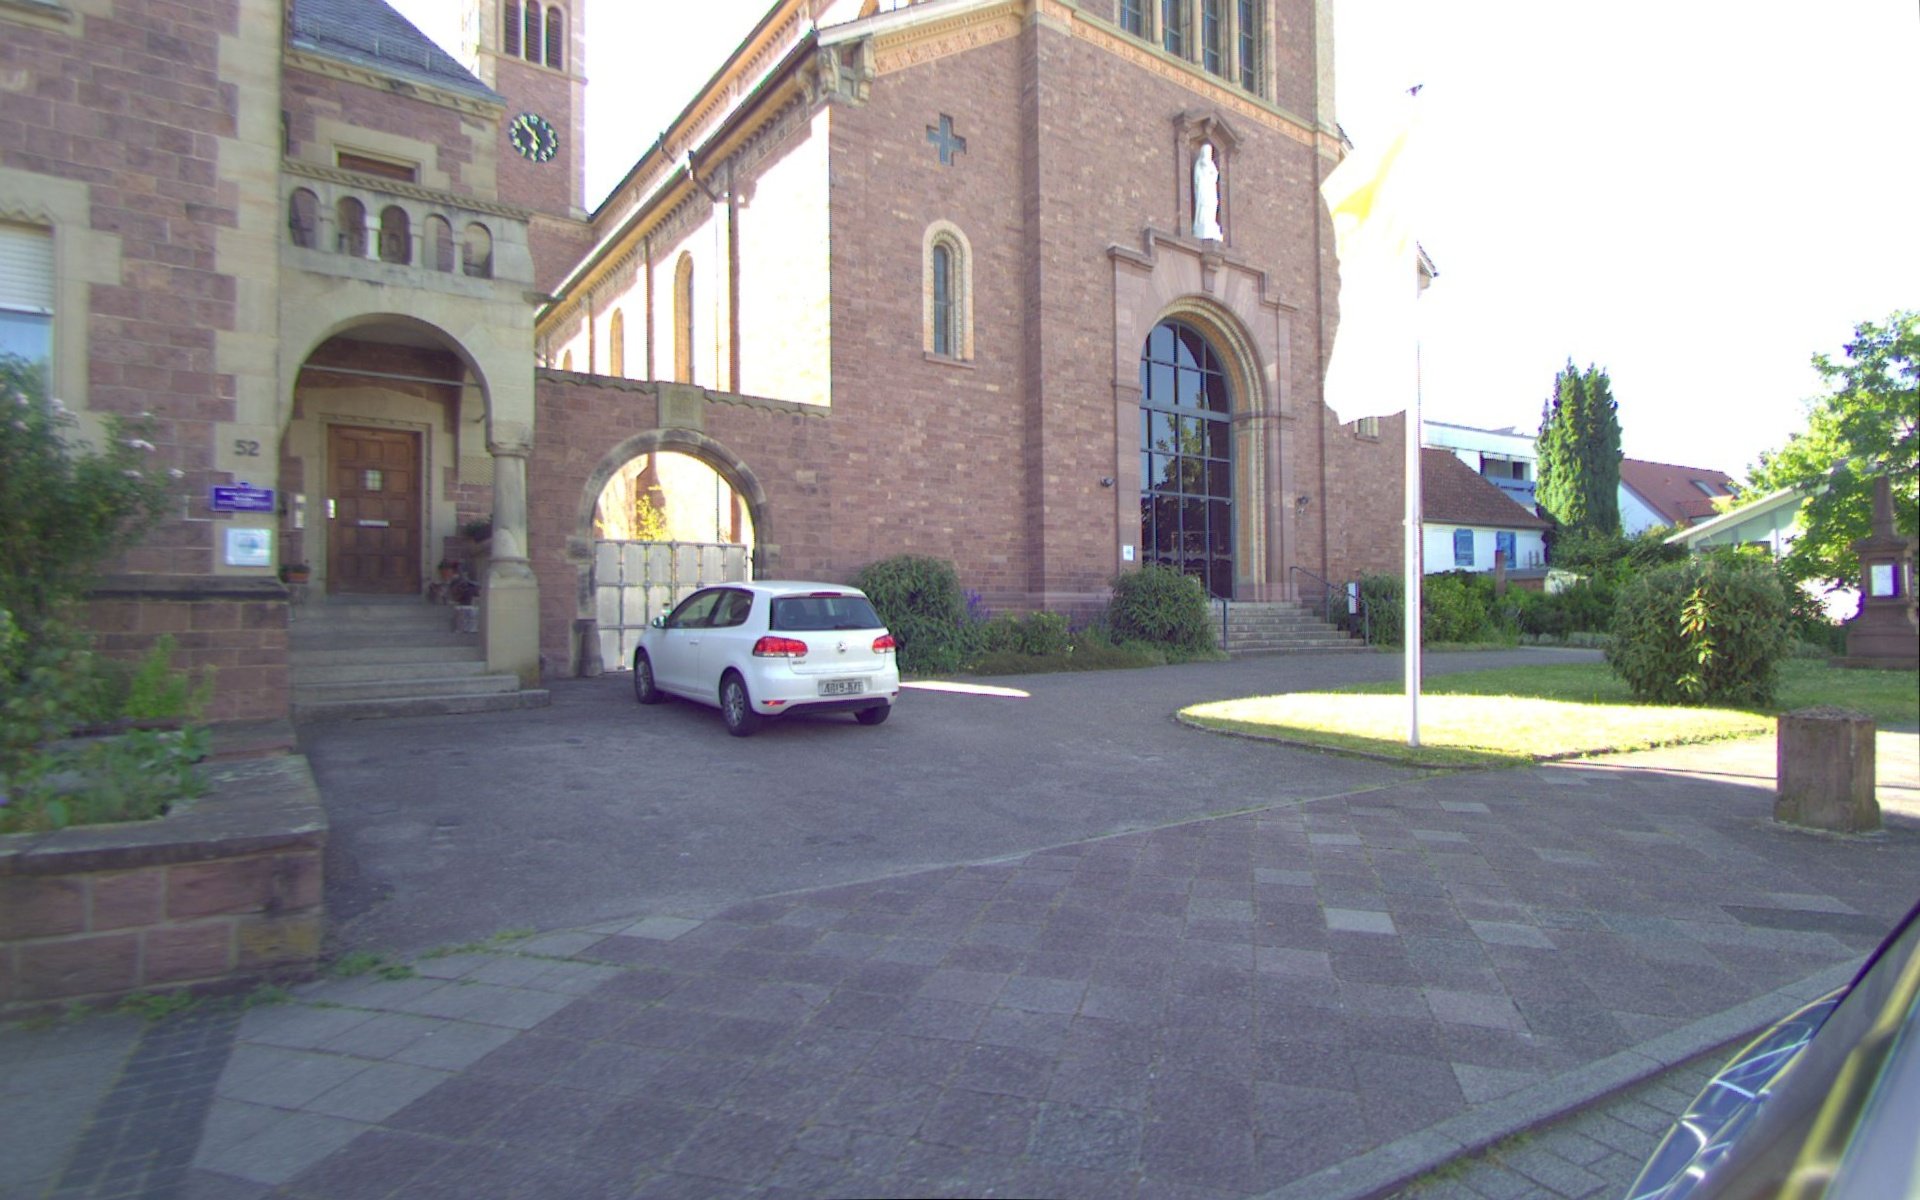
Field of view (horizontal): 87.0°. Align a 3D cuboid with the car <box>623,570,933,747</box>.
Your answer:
[{"bbox_3d":[-2.165,0.462,11.184,1.869,1.514,3.911,-2,3,-36],"label":"car"}]
